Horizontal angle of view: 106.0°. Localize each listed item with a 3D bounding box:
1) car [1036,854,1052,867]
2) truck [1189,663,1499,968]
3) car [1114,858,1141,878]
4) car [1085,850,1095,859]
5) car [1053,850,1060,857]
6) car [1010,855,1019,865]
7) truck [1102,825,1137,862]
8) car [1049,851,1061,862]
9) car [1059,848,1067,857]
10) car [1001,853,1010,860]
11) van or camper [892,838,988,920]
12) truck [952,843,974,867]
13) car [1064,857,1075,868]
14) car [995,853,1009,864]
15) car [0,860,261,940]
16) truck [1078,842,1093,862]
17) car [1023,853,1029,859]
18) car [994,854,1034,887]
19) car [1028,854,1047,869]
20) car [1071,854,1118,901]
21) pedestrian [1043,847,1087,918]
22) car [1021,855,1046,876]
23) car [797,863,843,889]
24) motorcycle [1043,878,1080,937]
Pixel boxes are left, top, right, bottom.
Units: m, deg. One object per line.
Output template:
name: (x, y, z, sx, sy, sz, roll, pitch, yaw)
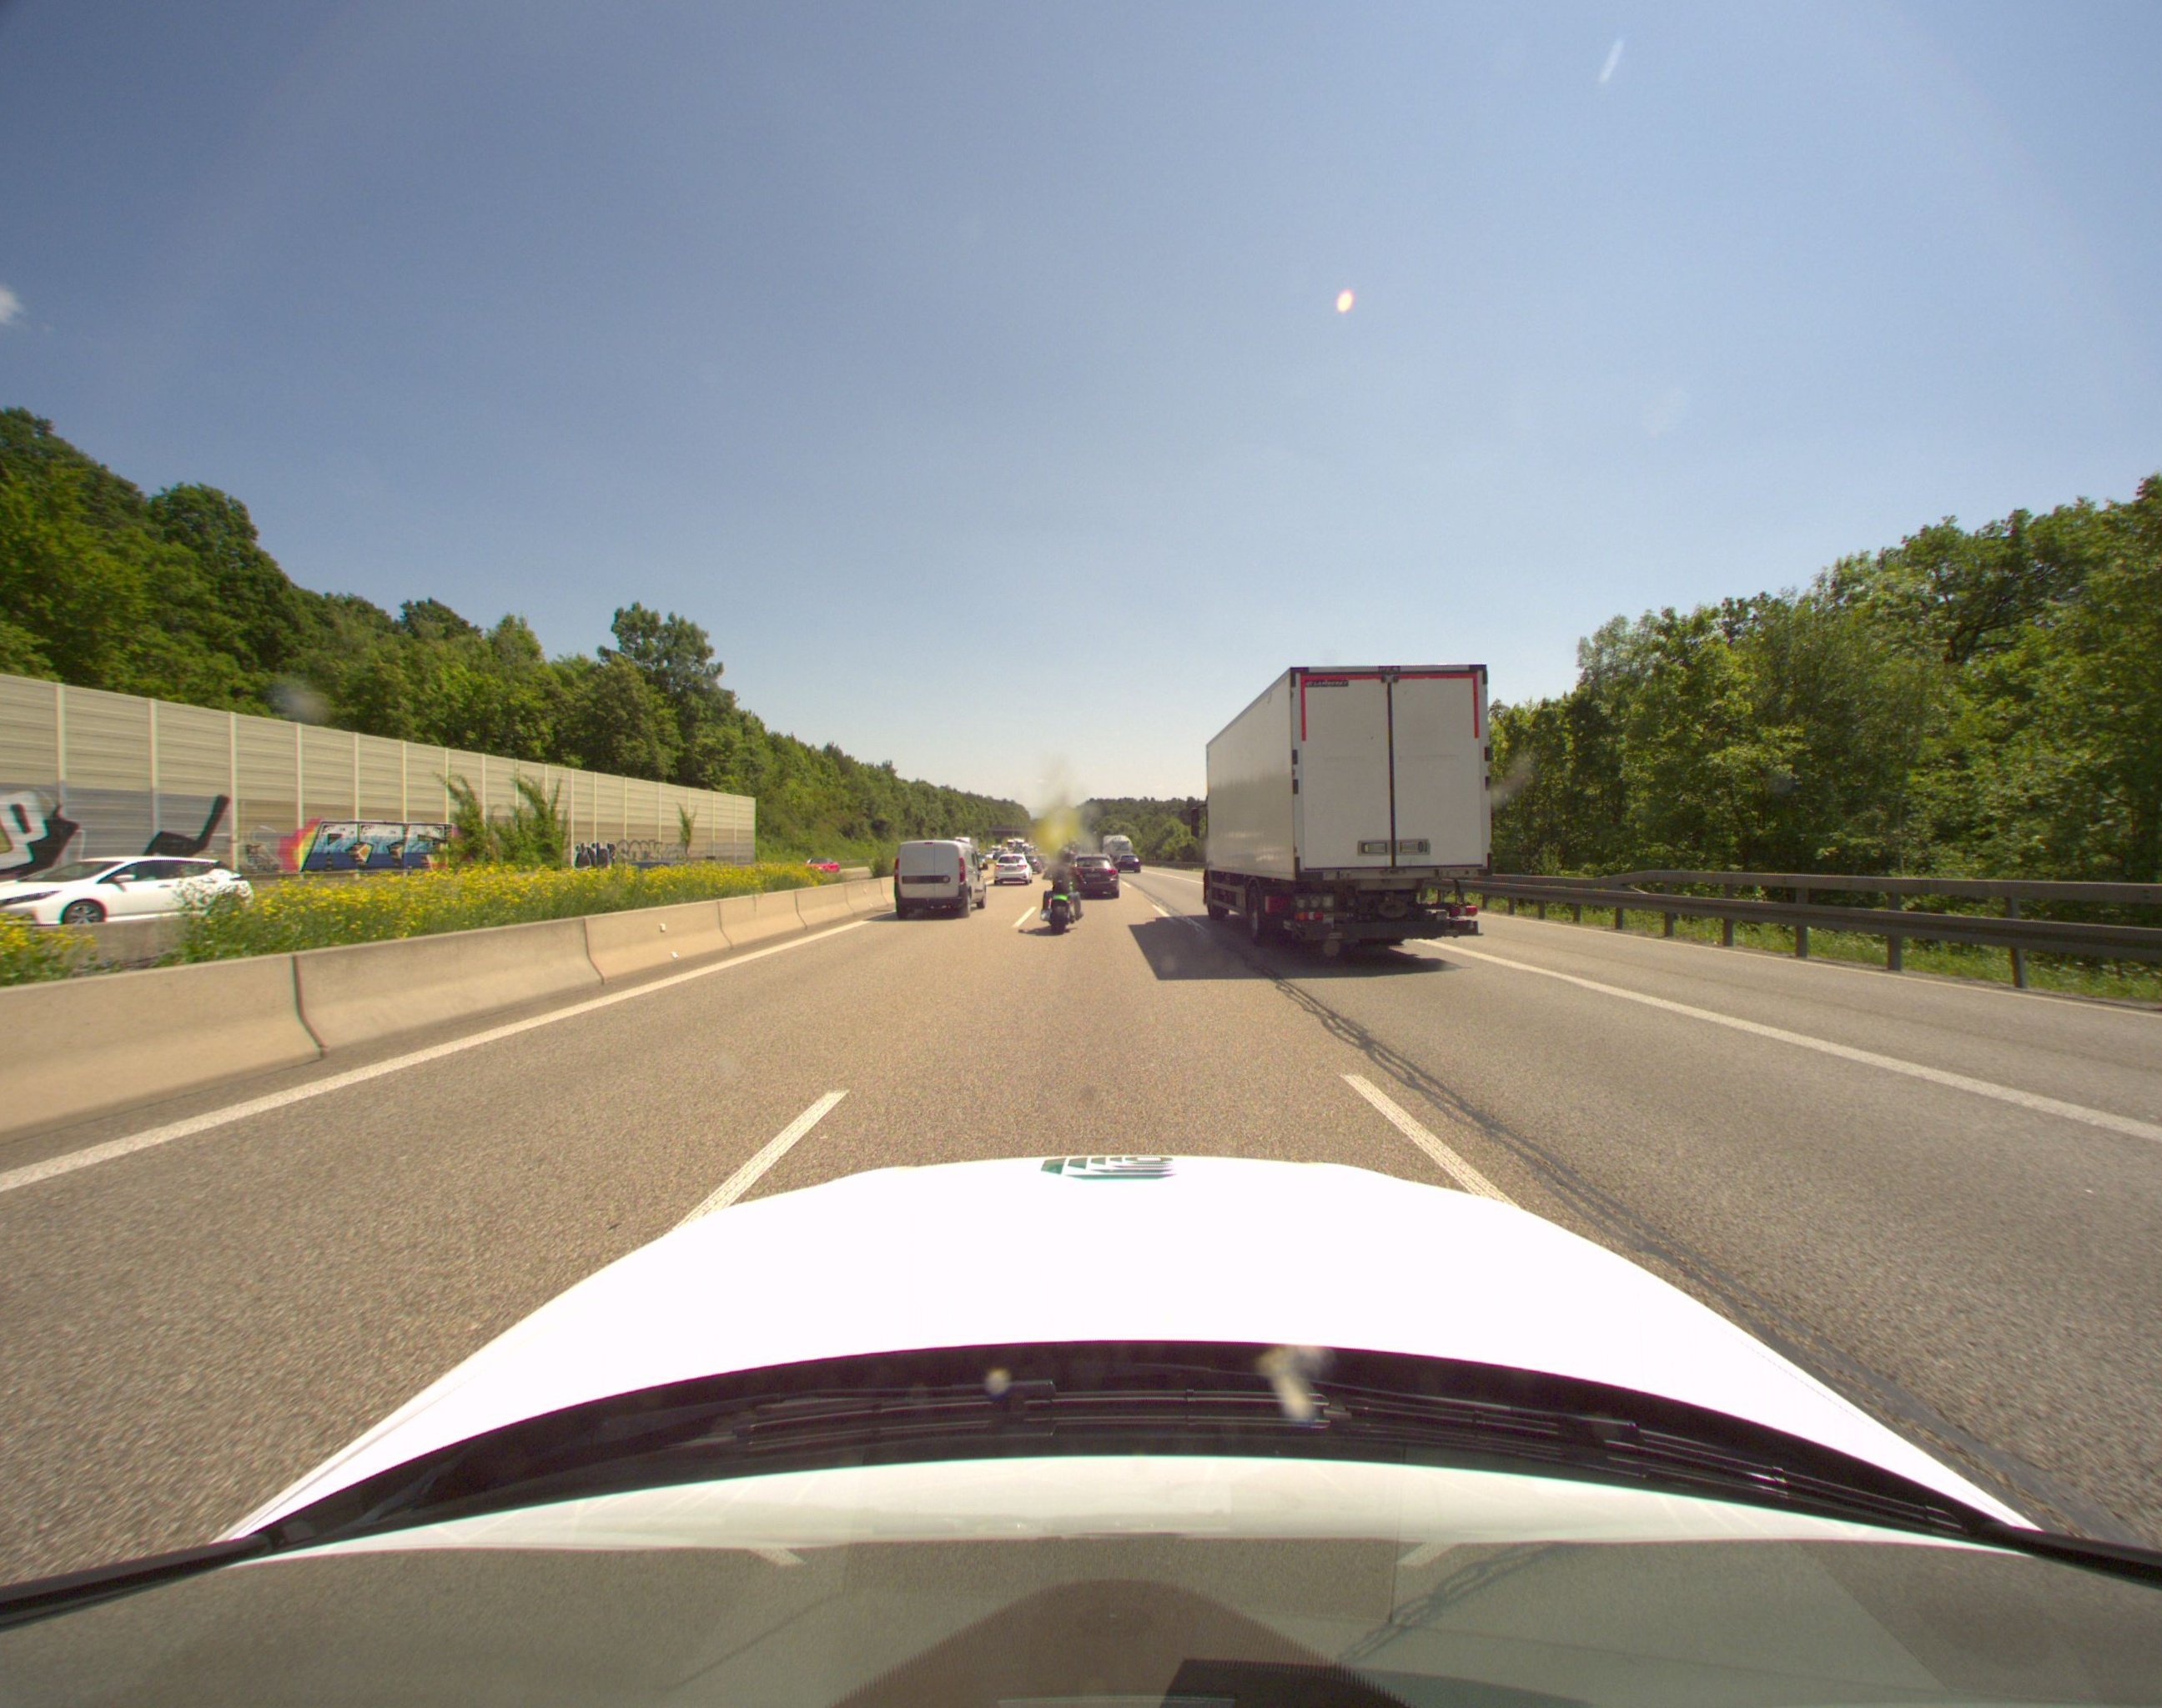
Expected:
car: (-4.246, 0.732, 93.216, 1.695, 1.478, 3.998, 1, 0, -1)
truck: (4.035, -0.502, 15.384, 2.679, 3.876, 9.779, -1, 0, 0)
car: (3.656, 1.101, 64.850, 1.823, 1.470, 3.998, 2, 0, -1)
car: (1.768, 0.052, 157.233, 1.782, 1.555, 3.801, 1, 0, -1)
car: (-7.172, -0.129, 239.371, 1.924, 2.014, 3.998, -1, -1, -1)
car: (-13.310, 1.236, 162.839, 1.759, 2.013, 3.996, -1, 0, -2)
truck: (3.892, -0.970, 85.159, 2.979, 3.671, 9.282, -1, -1, -1)
car: (-4.599, 0.509, 144.536, 1.874, 1.859, 3.998, 2, 0, -1)
car: (-4.152, -0.416, 191.100, 1.798, 2.014, 3.995, -1, -1, -3)
car: (-21.842, 0.697, 235.916, 2.222, 2.013, 5.808, -1, 0, -2)
van or camper: (-3.525, 0.597, 21.042, 1.790, 1.892, 4.158, -1, -1, -1)
truck: (-19.971, 0.221, 137.910, 2.805, 3.908, 7.309, -1, -1, -2)
car: (-1.646, 1.224, 118.076, 1.388, 1.463, 2.779, -1, 0, 1)
car: (-12.003, 0.644, 123.335, 1.678, 1.698, 4.658, 0, 0, 0)
car: (-20.910, 0.897, 17.741, 1.624, 1.482, 4.315, -1, 0, 2)
truck: (1.084, -0.516, 192.074, 3.025, 4.542, 9.977, 3, 0, -1)
car: (-14.983, 0.600, 222.202, 1.706, 1.538, 4.124, 0, 0, -2)
car: (-3.237, 0.765, 39.985, 1.695, 1.478, 3.998, 1, 0, -1)
car: (-4.377, 0.738, 81.969, 1.695, 1.478, 3.998, 1, 0, -1)
car: (0.434, 0.759, 28.273, 1.528, 1.510, 3.999, -1, 0, 0)
pedestrian: (-0.320, 0.556, 16.386, 0.846, 1.362, 0.961, 0, 0, -1)
car: (-3.494, 0.816, 60.654, 1.695, 1.478, 3.998, 1, 0, -1)
car: (-17.753, 1.468, 55.522, 1.733, 1.640, 4.188, -1, -1, 1)
motorcycle: (-0.360, 1.026, 16.218, 0.689, 1.015, 2.121, 0, 0, 0)
